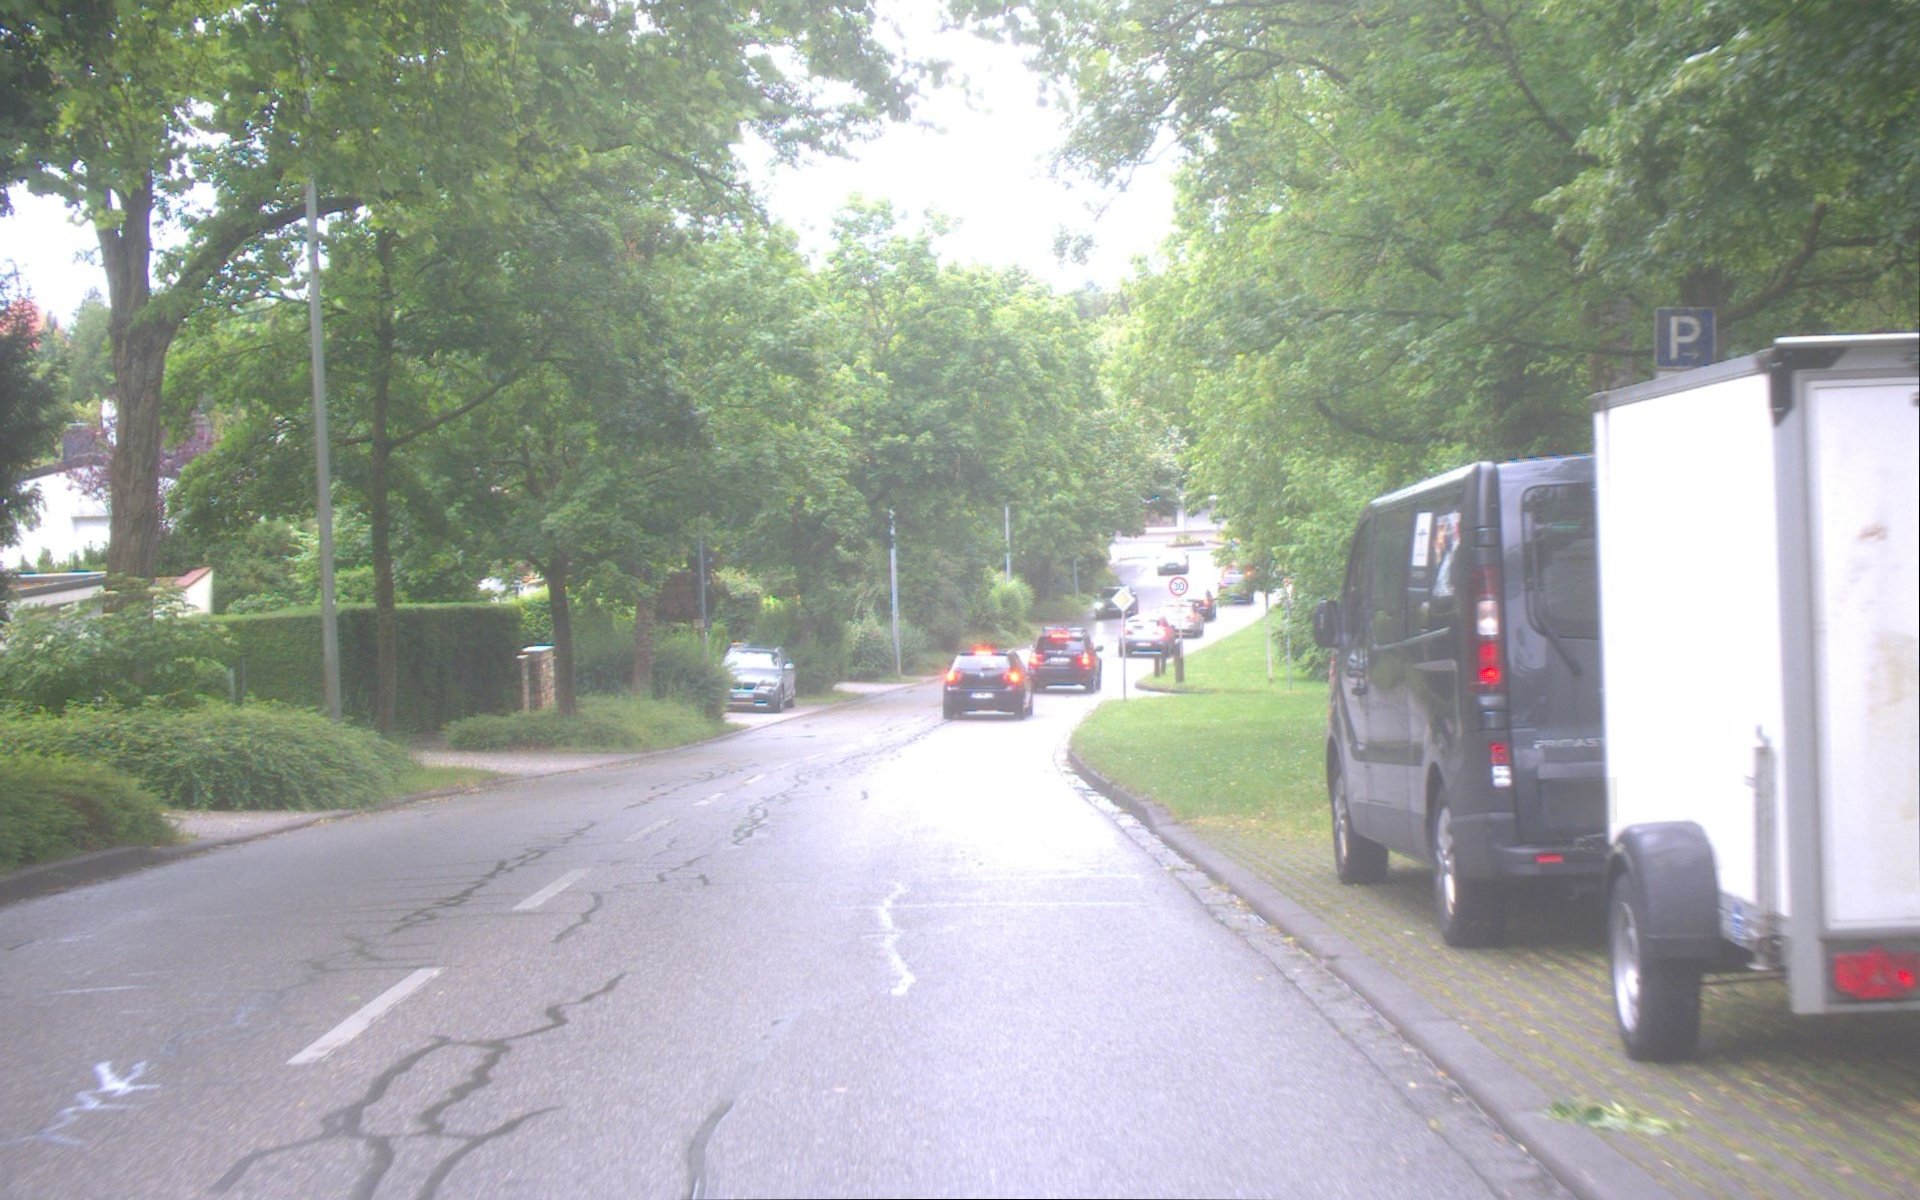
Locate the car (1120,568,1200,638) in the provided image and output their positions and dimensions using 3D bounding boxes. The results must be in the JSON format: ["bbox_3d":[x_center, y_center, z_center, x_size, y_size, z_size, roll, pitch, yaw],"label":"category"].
[{"bbox_3d":[5.926,0.109,102.185,1.993,2.007,4.000,-1,-1,-2],"label":"car"}]

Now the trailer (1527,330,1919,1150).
[{"bbox_3d":[2.908,0.316,10.721,1.530,2.068,4.000,-2,0,0],"label":"trailer"}]

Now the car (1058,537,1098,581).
[{"bbox_3d":[6.186,-2.177,180.864,1.993,2.006,4.001,-1,5,1],"label":"car"}]

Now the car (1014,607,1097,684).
[{"bbox_3d":[2.573,1.218,93.305,1.993,2.007,4.000,-1,-1,-2],"label":"car"}]

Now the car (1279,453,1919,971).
[{"bbox_3d":[2.790,0.422,15.670,1.993,1.903,5.509,-1,0,-1],"label":"car"}]

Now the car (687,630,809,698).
[{"bbox_3d":[-5.154,1.546,84.044,1.994,1.593,4.008,-1,-1,11],"label":"car"}]

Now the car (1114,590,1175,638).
[{"bbox_3d":[6.661,0.524,124.486,1.856,1.686,4.000,-1,0,-2],"label":"car"}]
